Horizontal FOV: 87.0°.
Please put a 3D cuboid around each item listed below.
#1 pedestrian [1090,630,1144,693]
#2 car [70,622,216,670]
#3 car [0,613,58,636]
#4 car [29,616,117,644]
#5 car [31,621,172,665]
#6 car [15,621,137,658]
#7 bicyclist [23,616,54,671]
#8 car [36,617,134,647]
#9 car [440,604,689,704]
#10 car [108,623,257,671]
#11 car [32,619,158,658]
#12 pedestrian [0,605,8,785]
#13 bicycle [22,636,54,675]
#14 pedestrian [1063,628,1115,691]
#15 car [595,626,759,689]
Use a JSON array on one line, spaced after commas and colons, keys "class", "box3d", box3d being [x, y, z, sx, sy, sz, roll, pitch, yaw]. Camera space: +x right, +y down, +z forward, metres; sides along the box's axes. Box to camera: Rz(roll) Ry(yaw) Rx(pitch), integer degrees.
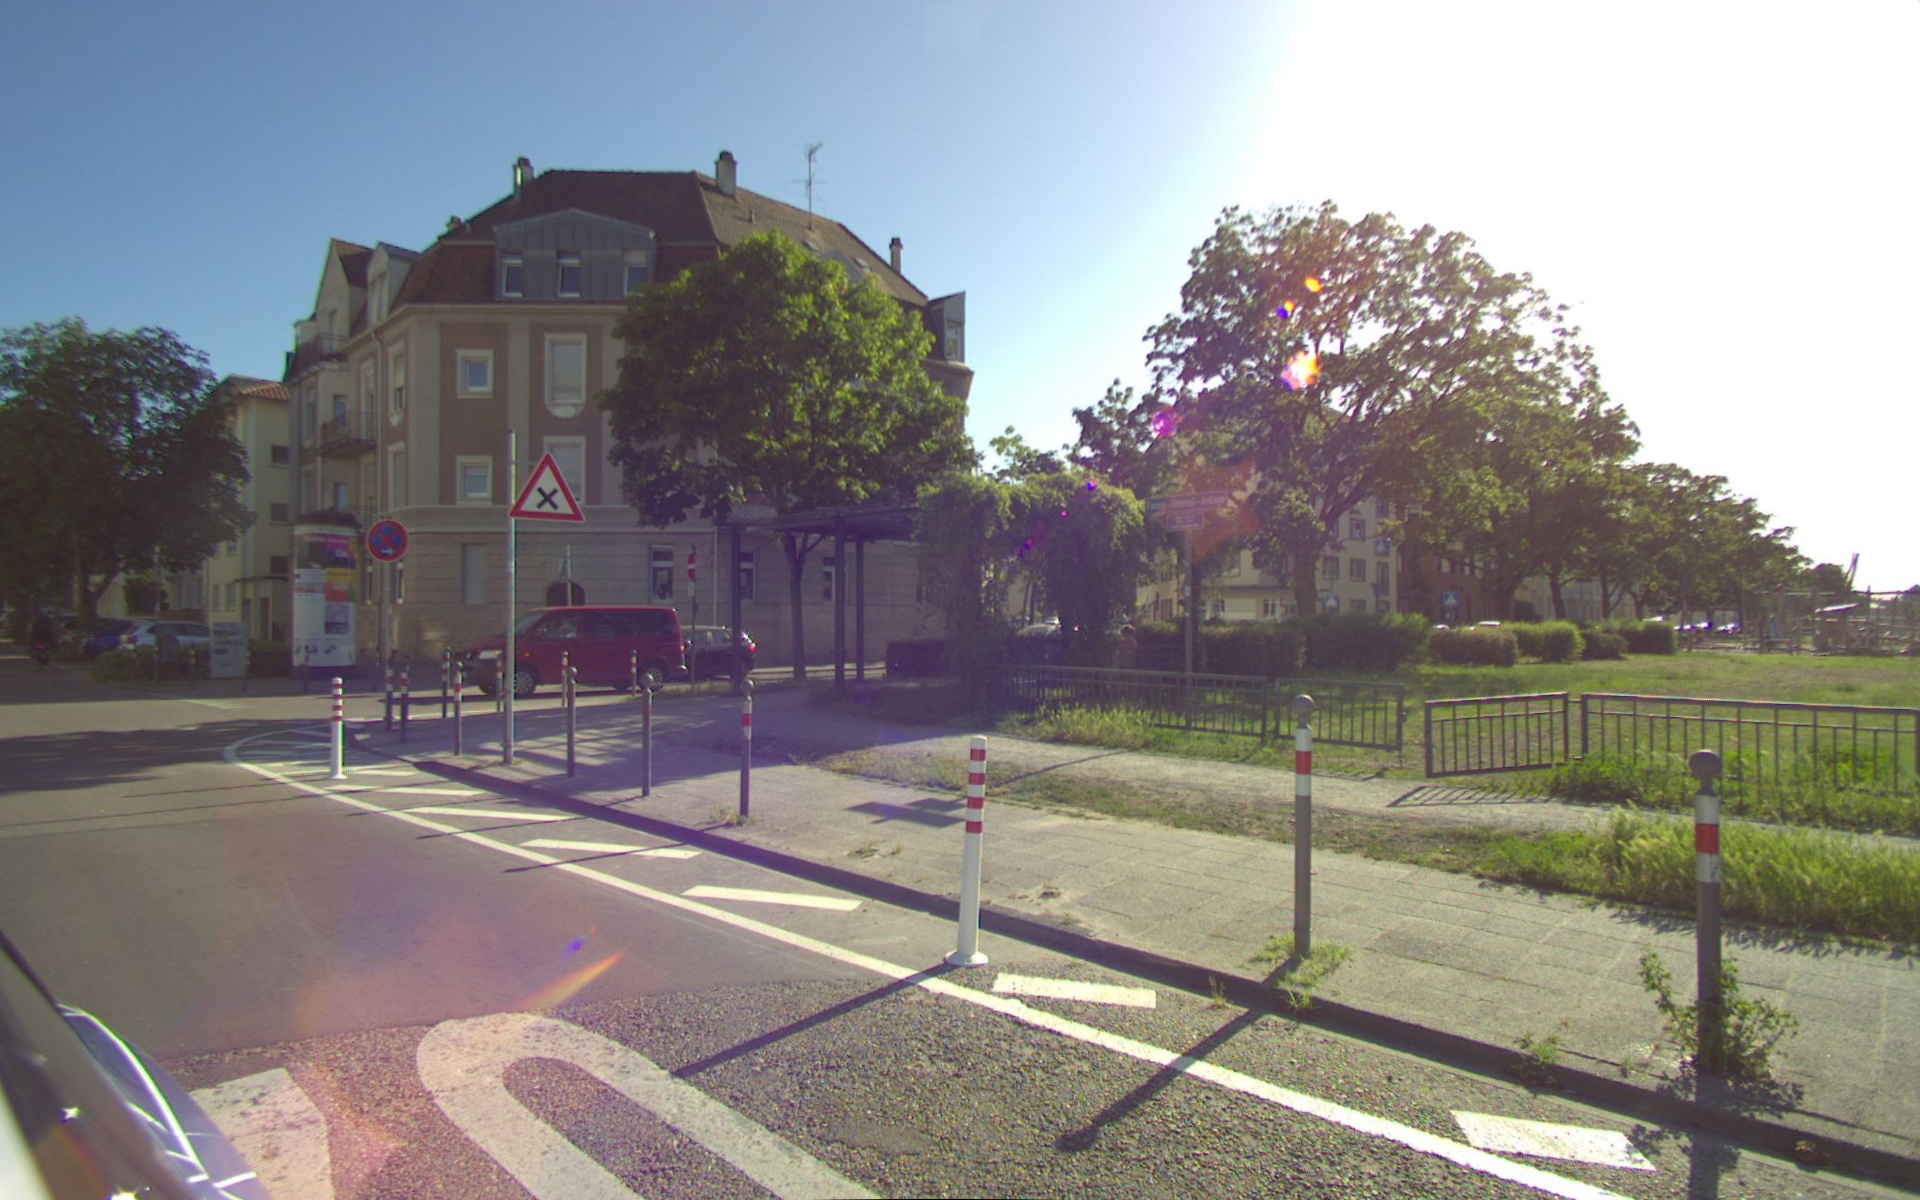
[{"class": "pedestrian", "box3d": [2.924, 1.123, 18.820, 0.862, 1.147, 0.599, 2, -2, -45]}, {"class": "car", "box3d": [-28.300, 1.558, 35.121, 1.691, 1.506, 3.739, -1, -1, 41]}, {"class": "car", "box3d": [-73.001, 1.903, 79.202, 1.692, 1.716, 3.481, -1, -1, 42]}, {"class": "car", "box3d": [-49.700, 1.666, 56.724, 1.690, 1.506, 3.484, -1, -1, 39]}, {"class": "car", "box3d": [-32.503, 1.583, 38.410, 1.686, 1.506, 3.751, -1, -1, 31]}, {"class": "car", "box3d": [-39.105, 1.696, 44.836, 1.686, 1.506, 3.751, -1, -1, 31]}, {"class": "bicyclist", "box3d": [-27.924, 1.313, 30.655, 0.635, 1.632, 0.637, 2, -2, -45]}, {"class": "car", "box3d": [-46.448, 1.661, 53.775, 1.690, 1.506, 3.742, -1, -1, 39]}, {"class": "car", "box3d": [-8.756, 1.141, 22.710, 4.812, 1.975, 1.899, 2, -1, -43]}, {"class": "car", "box3d": [-26.187, 1.535, 34.173, 1.691, 1.455, 3.739, -1, -1, 41]}, {"class": "car", "box3d": [-36.697, 1.608, 42.999, 1.686, 1.506, 3.751, -1, -1, 31]}, {"class": "pedestrian", "box3d": [-9.588, 0.889, 9.228, 0.909, 1.687, 1.080, -1, -1, 27]}, {"class": "bicycle", "box3d": [-27.957, 1.669, 30.678, 0.635, 1.117, 2.066, 2, -2, -45]}, {"class": "pedestrian", "box3d": [2.461, 1.118, 19.321, 0.833, 1.158, 0.599, 2, -2, -45]}, {"class": "car", "box3d": [-7.710, 1.513, 27.826, 1.867, 1.494, 3.960, 3, 1, 41]}]
